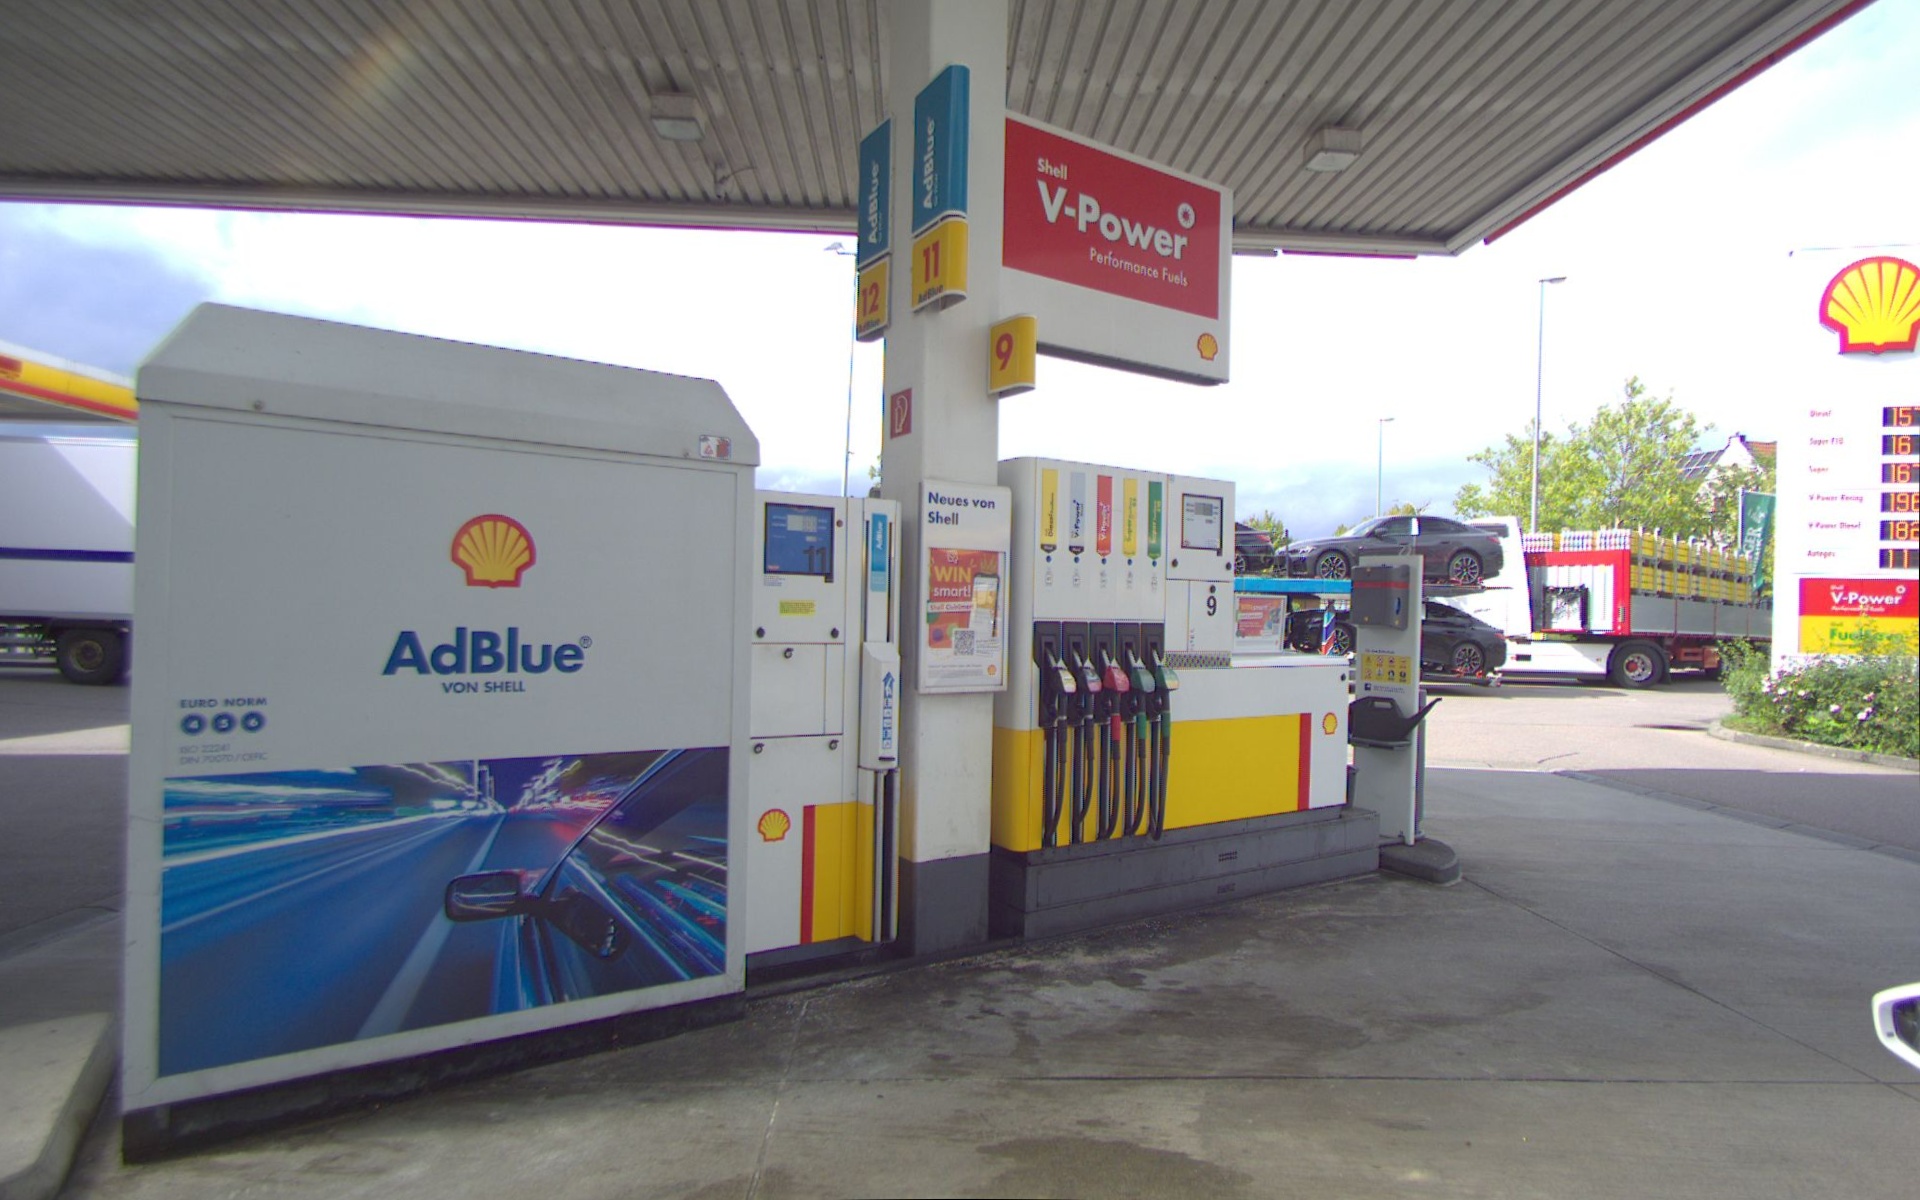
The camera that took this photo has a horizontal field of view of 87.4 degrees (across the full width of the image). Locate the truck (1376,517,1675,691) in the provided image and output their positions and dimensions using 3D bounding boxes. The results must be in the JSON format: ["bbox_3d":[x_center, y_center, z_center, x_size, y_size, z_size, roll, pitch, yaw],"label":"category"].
[{"bbox_3d":[13.675,0.045,24.803,5.799,3.897,2.743,2,0,13],"label":"truck"}]

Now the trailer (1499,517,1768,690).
[{"bbox_3d":[18.749,0.213,27.362,12.610,3.826,2.707,2,0,-40],"label":"trailer"}]

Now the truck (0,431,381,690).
[{"bbox_3d":[-17.315,-0.745,17.496,12.654,4.092,2.534,2,0,-3],"label":"truck"}]

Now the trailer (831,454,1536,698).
[{"bbox_3d":[4.511,-0.473,21.580,14.077,4.481,2.746,2,0,0],"label":"trailer"}]

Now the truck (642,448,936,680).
[{"bbox_3d":[-3.464,-0.710,21.541,5.713,4.479,2.750,2,0,0],"label":"truck"}]
